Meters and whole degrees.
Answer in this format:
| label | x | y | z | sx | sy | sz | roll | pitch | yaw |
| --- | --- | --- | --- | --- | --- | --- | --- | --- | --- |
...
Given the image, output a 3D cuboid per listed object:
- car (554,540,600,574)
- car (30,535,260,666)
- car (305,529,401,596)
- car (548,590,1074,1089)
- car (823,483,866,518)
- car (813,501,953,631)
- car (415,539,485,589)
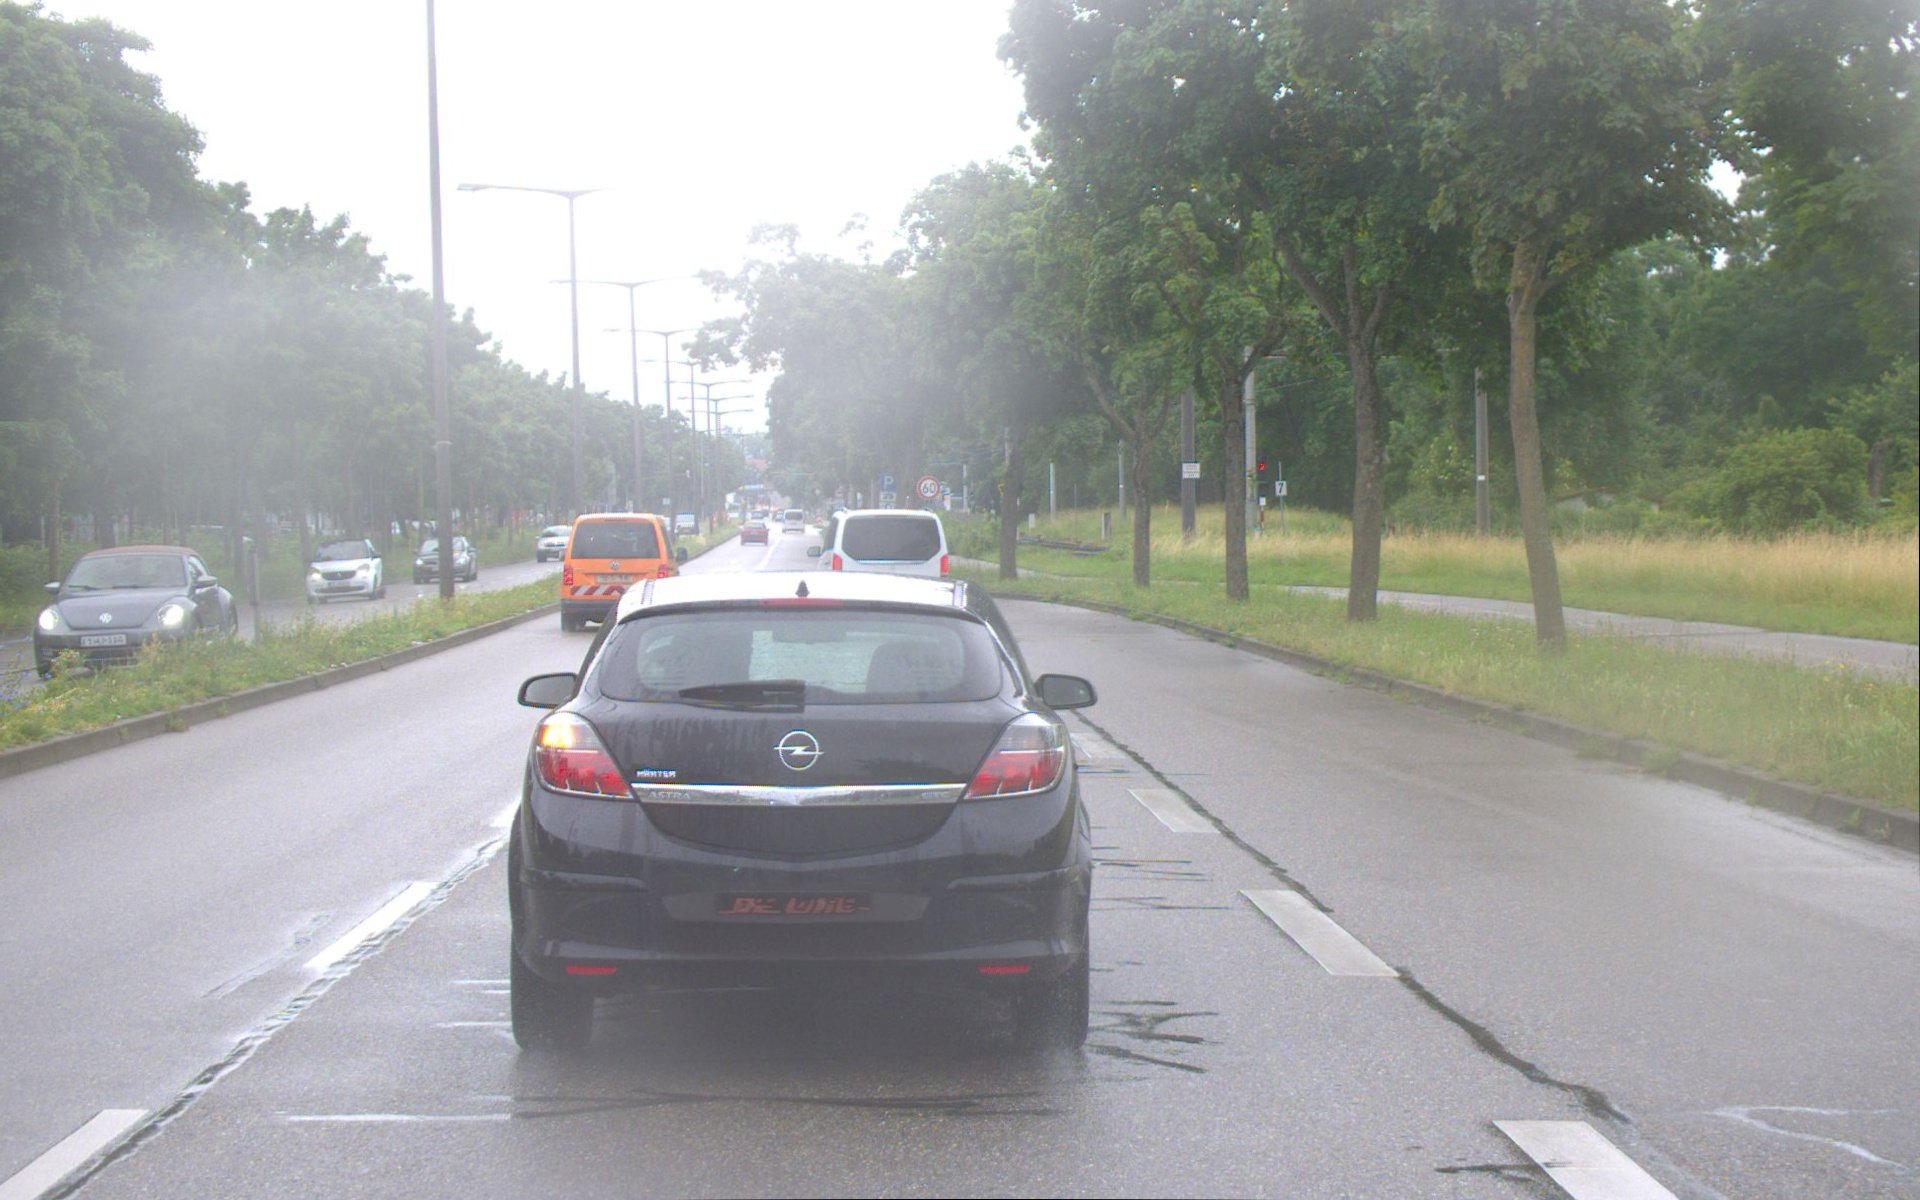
| label | x | y | z | sx | sy | sz | roll | pitch | yaw |
| --- | --- | --- | --- | --- | --- | --- | --- | --- | --- |
| car | -17.421 | -1.965 | 156.624 | 1.720 | 1.524 | 3.809 | -1 | 1 | -1 |
| car | -9.494 | -0.026 | 40.337 | 1.827 | 1.445 | 3.809 | -1 | 1 | -1 |
| car | -14.871 | -0.935 | 84.428 | 1.720 | 1.524 | 3.809 | -1 | 2 | -1 |
| car | -0.374 | 0.661 | 11.437 | 1.463 | 1.324 | 3.758 | 0 | 1 | 1 |
| car | -7.002 | -6.043 | 208.219 | 2.516 | 2.045 | 5.294 | 1 | 2 | -2 |
| car | -1.263 | -0.536 | 54.621 | 2.059 | 1.968 | 4.609 | 0 | 0 | -3 |
| car | -16.204 | -1.160 | 109.383 | 1.720 | 1.524 | 3.809 | -1 | 1 | -1 |
